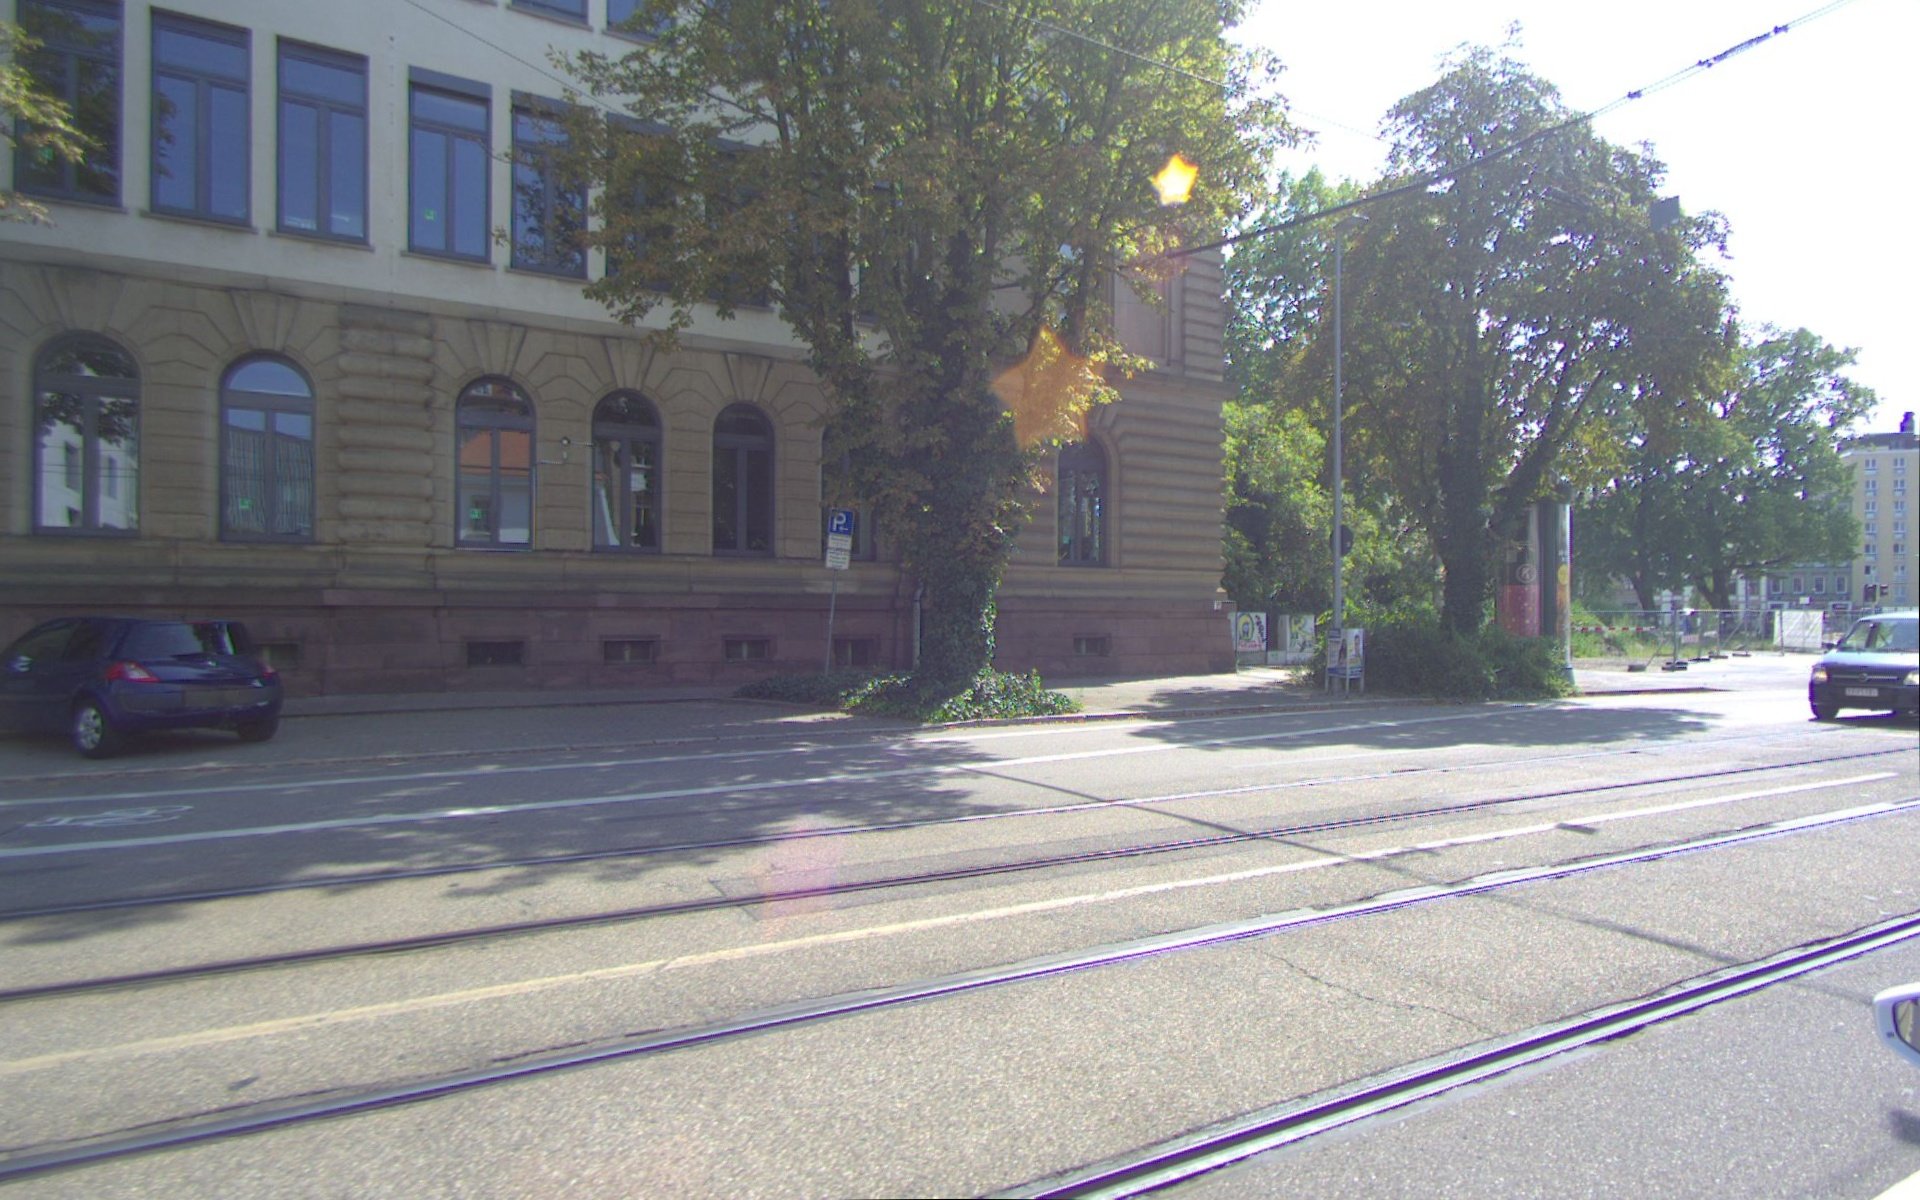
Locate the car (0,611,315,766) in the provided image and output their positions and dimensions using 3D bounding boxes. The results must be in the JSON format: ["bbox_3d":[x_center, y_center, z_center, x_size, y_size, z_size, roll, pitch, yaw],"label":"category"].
[{"bbox_3d":[-9.587,0.886,11.520,4.085,1.516,1.819,0,-1,26],"label":"car"}]

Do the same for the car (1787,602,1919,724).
[{"bbox_3d":[14.424,0.902,15.229,3.535,1.677,1.685,1,-1,-28],"label":"car"}]
